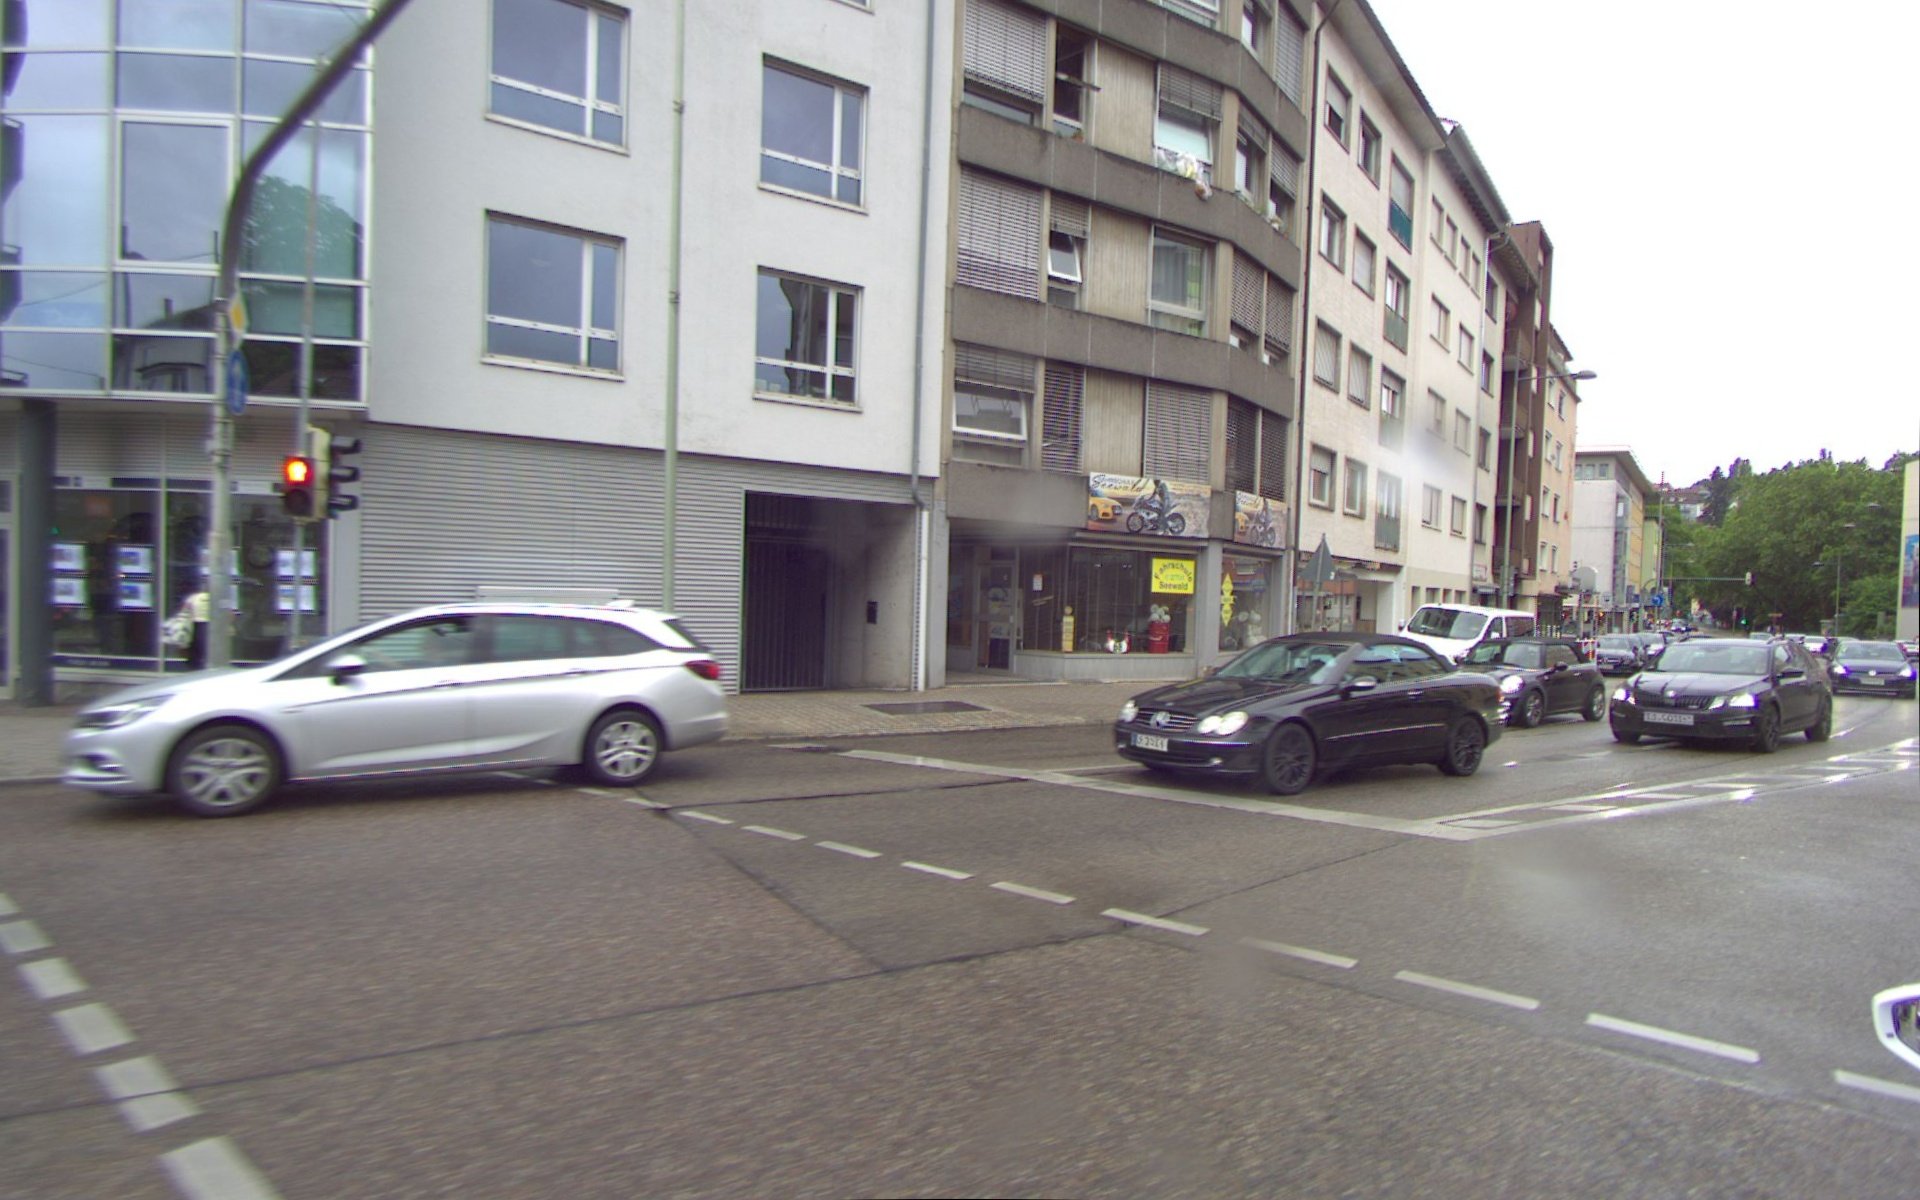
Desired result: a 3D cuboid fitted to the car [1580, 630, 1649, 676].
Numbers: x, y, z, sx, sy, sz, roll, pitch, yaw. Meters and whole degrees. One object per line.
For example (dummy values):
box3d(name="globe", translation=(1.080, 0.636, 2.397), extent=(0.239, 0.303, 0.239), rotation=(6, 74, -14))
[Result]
box3d(name="car", translation=(23.646, 1.857, 36.217), extent=(1.857, 1.496, 4.963), rotation=(1, -1, 36))

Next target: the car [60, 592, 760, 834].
box3d(name="car", translation=(-4.159, 0.777, 8.276), extent=(4.555, 1.493, 1.917), rotation=(2, -2, -34))

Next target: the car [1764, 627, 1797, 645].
box3d(name="car", translation=(71.487, 3.182, 87.567), extent=(1.796, 1.452, 4.386), rotation=(2, -1, 34))

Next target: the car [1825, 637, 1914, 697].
box3d(name="car", translation=(24.588, 1.751, 27.230), extent=(1.665, 1.492, 3.979), rotation=(-1, -2, 41))

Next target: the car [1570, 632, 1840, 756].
box3d(name="car", translation=(10.664, 1.216, 14.270), extent=(4.445, 1.478, 1.969), rotation=(2, -2, -38))

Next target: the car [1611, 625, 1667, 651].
box3d(name="car", translation=(50.698, 2.825, 75.006), extent=(3.949, 1.729, 1.675), rotation=(3, 2, -27))

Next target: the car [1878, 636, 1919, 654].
box3d(name="car", translation=(82.141, 3.891, 87.795), extent=(1.747, 1.420, 4.573), rotation=(0, 0, 28))

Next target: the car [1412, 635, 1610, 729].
box3d(name="car", translation=(9.468, 1.322, 17.198), extent=(3.562, 1.418, 1.709), rotation=(2, -2, -38))

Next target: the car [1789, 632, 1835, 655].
box3d(name="car", translation=(63.051, 3.186, 74.388), extent=(1.906, 1.547, 4.126), rotation=(2, -1, 31))

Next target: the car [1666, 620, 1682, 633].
box3d(name="car", translation=(116.035, 4.283, 163.248), extent=(1.967, 1.885, 3.986), rotation=(5, 2, 36))

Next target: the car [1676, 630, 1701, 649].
box3d(name="car", translation=(64.520, 3.501, 89.029), extent=(1.670, 1.648, 3.987), rotation=(1, -1, 35))

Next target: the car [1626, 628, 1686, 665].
box3d(name="car", translation=(32.332, 2.151, 46.611), extent=(1.885, 1.575, 4.609), rotation=(1, -1, 40))

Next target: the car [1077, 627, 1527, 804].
box3d(name="car", translation=(3.520, 1.023, 10.028), extent=(4.553, 1.384, 1.814), rotation=(2, -1, -32))

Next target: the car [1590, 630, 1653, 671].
box3d(name="car", translation=(26.903, 1.996, 40.778), extent=(1.967, 1.496, 4.504), rotation=(1, -1, 35))

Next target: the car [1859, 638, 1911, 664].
box3d(name="car", translation=(66.519, 3.629, 72.304), extent=(1.965, 1.550, 3.990), rotation=(5, 2, 32))

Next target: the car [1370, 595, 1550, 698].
box3d(name="car", translation=(11.863, 1.096, 23.653), extent=(5.095, 2.041, 2.097), rotation=(4, 1, -44))

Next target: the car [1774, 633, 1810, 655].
box3d(name="car", translation=(66.190, 3.469, 79.936), extent=(1.797, 1.629, 4.416), rotation=(2, -1, 35))

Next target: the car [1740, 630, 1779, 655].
box3d(name="car", translation=(57.496, 3.022, 72.319), extent=(1.837, 1.669, 4.241), rotation=(1, -1, 34))

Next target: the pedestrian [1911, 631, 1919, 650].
box3d(name="pedestrian", translation=(88.904, 3.743, 93.330), extent=(0.602, 1.760, 0.681), rotation=(0, 0, 24))

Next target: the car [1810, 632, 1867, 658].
box3d(name="car", translation=(60.531, 3.060, 69.289), extent=(1.827, 1.573, 4.222), rotation=(2, 0, 26))

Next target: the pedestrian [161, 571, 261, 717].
box3d(name="pedestrian", translation=(-8.651, 0.495, 11.630), extent=(0.822, 1.629, 0.621), rotation=(1, 0, -29))
